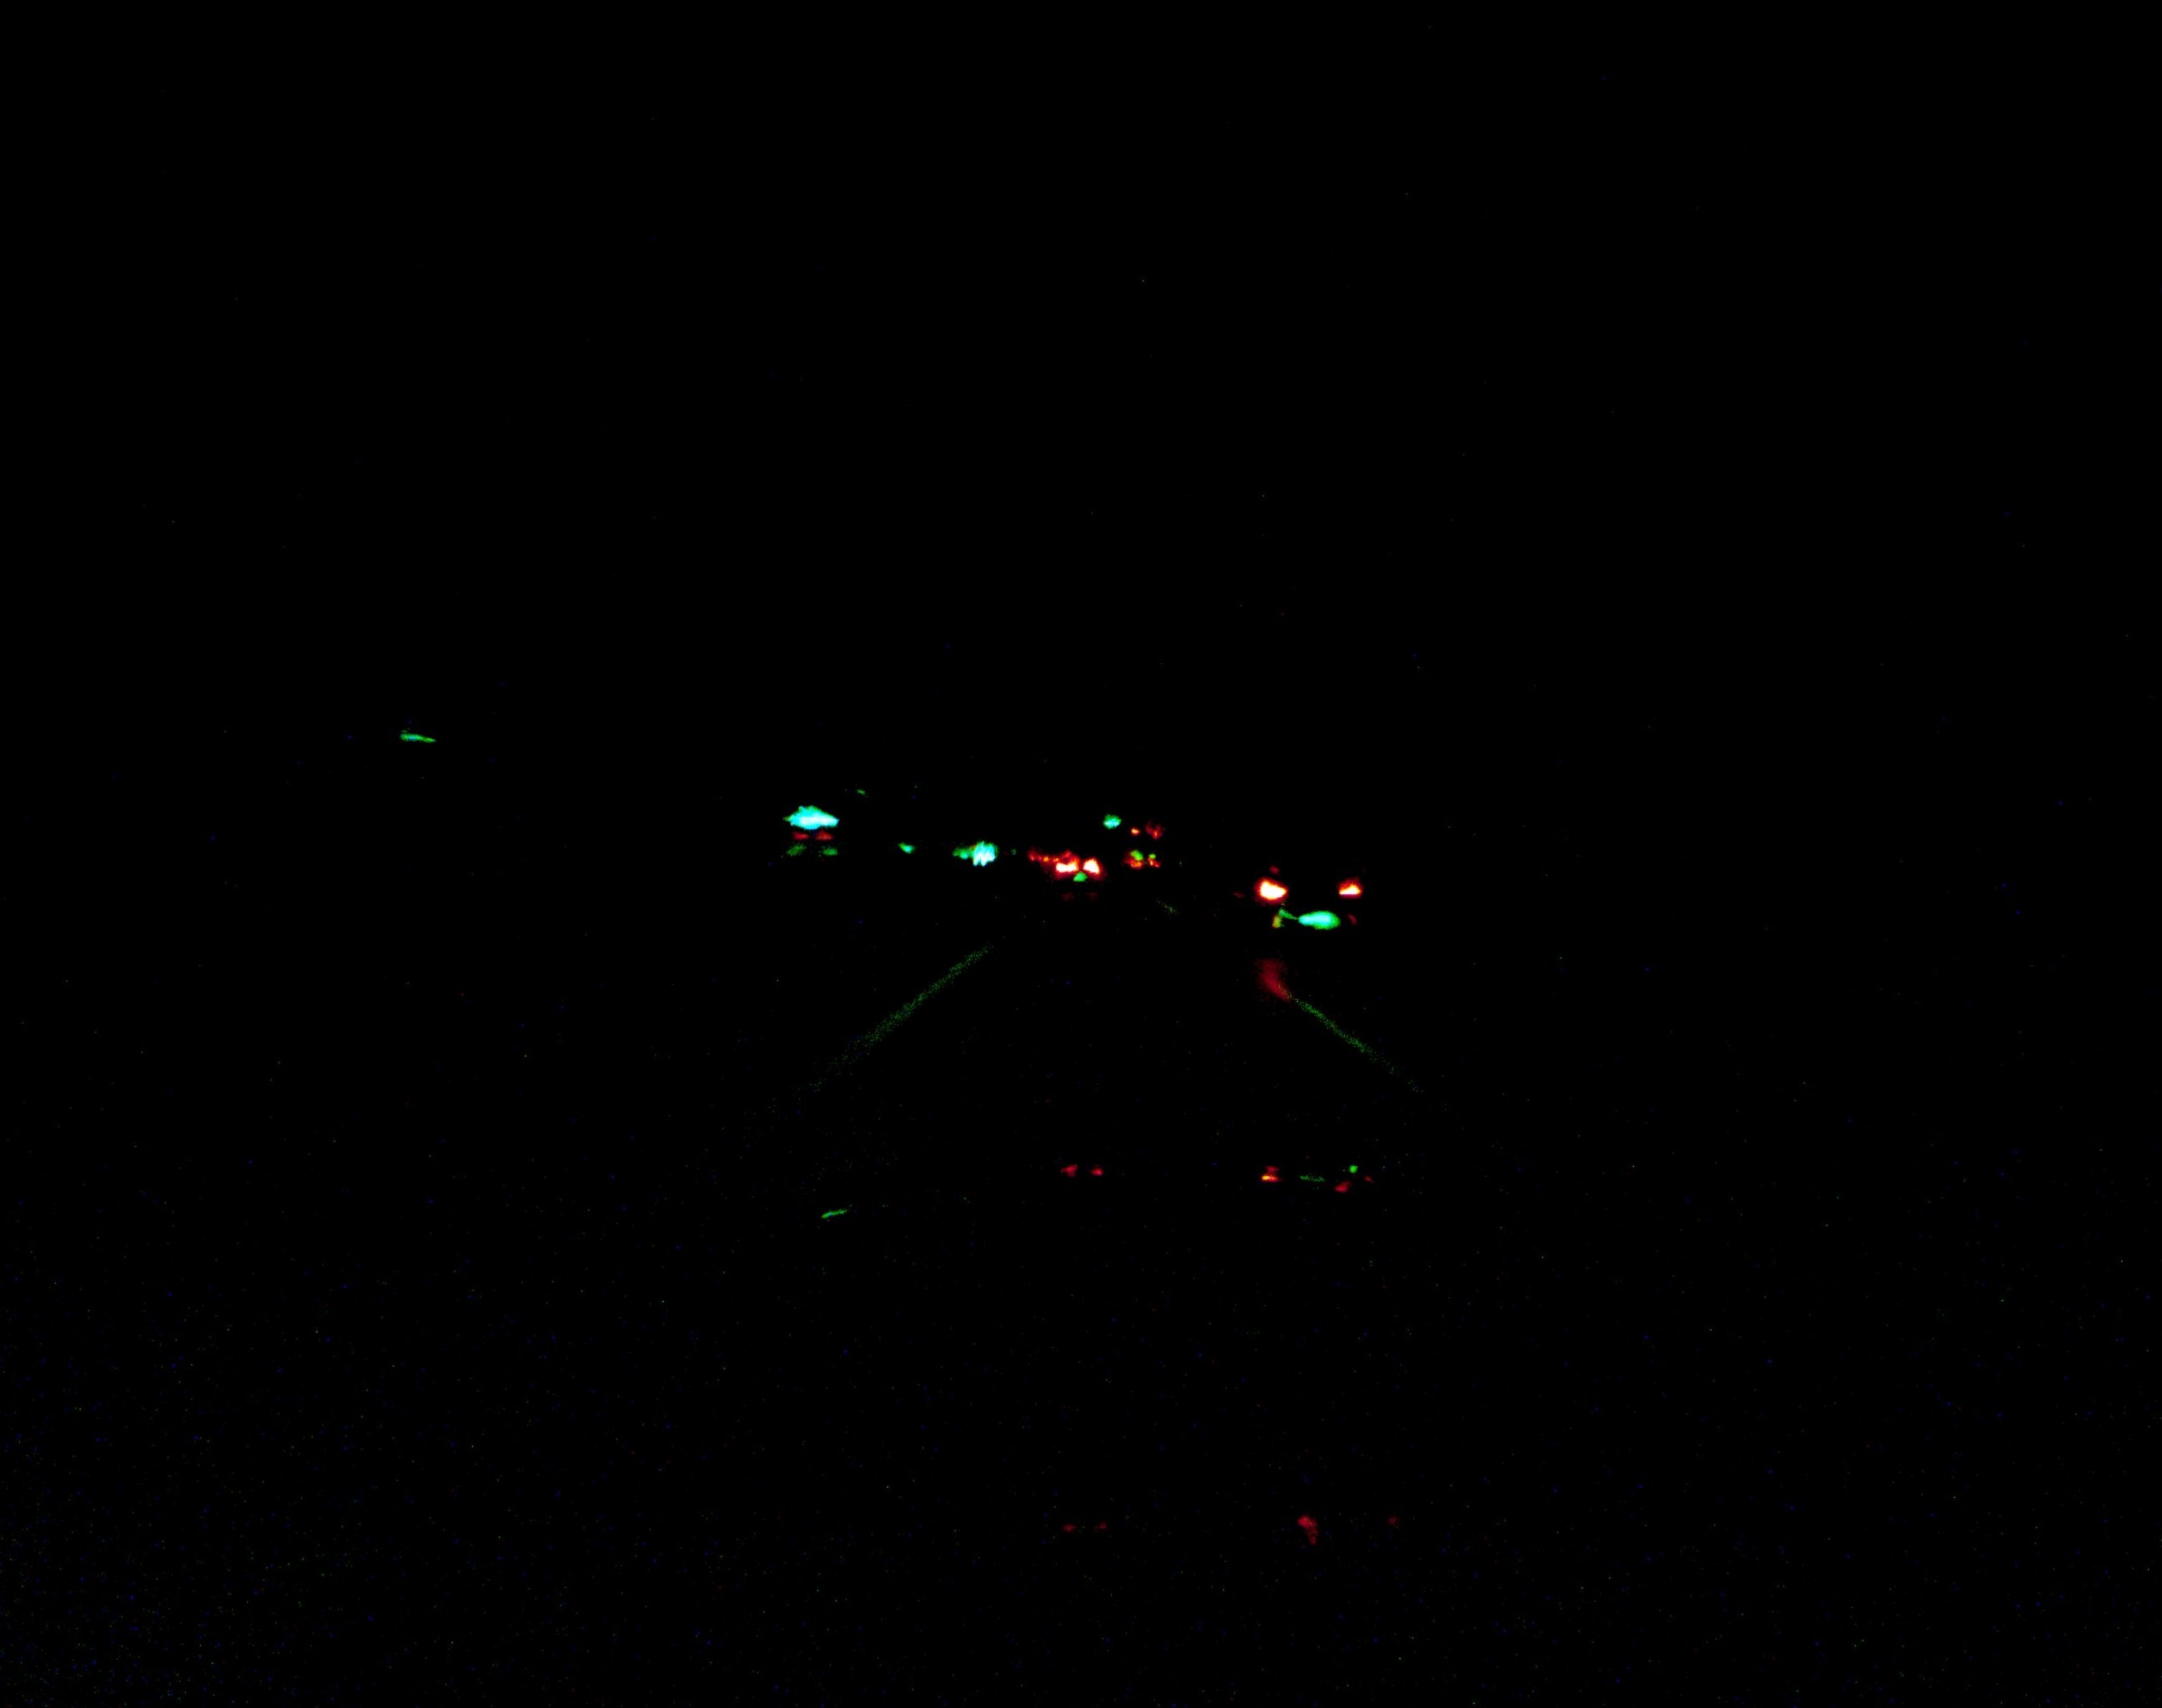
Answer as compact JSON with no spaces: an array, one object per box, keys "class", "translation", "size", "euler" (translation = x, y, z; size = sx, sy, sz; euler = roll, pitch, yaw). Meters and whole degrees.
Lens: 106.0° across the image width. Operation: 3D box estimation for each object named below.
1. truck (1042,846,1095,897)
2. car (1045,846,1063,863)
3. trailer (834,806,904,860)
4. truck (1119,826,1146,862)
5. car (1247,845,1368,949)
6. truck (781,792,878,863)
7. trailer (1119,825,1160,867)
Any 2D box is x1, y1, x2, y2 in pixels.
[{"class":"truck","translation":[-0.496,0.774,40.142],"size":[2.137,2.077,6.607],"euler":[4,1,2]},{"class":"car","translation":[-3.566,0.060,106.548],"size":[1.992,2.014,3.989],"euler":[-2,-1,-8]},{"class":"trailer","translation":[-16.407,-1.654,63.907],"size":[2.919,3.748,9.497],"euler":[4,1,-1]},{"class":"truck","translation":[6.078,-1.216,96.677],"size":[2.703,4.241,5.289],"euler":[0,1,-2]},{"class":"car","translation":[3.959,0.644,14.823],"size":[1.789,1.617,4.270],"euler":[0,0,11]},{"class":"truck","translation":[-16.293,-1.708,53.785],"size":[2.939,4.036,10.650],"euler":[4,1,-1]},{"class":"trailer","translation":[6.354,-0.994,90.380],"size":[2.733,4.247,13.358],"euler":[-2,2,-3]}]
